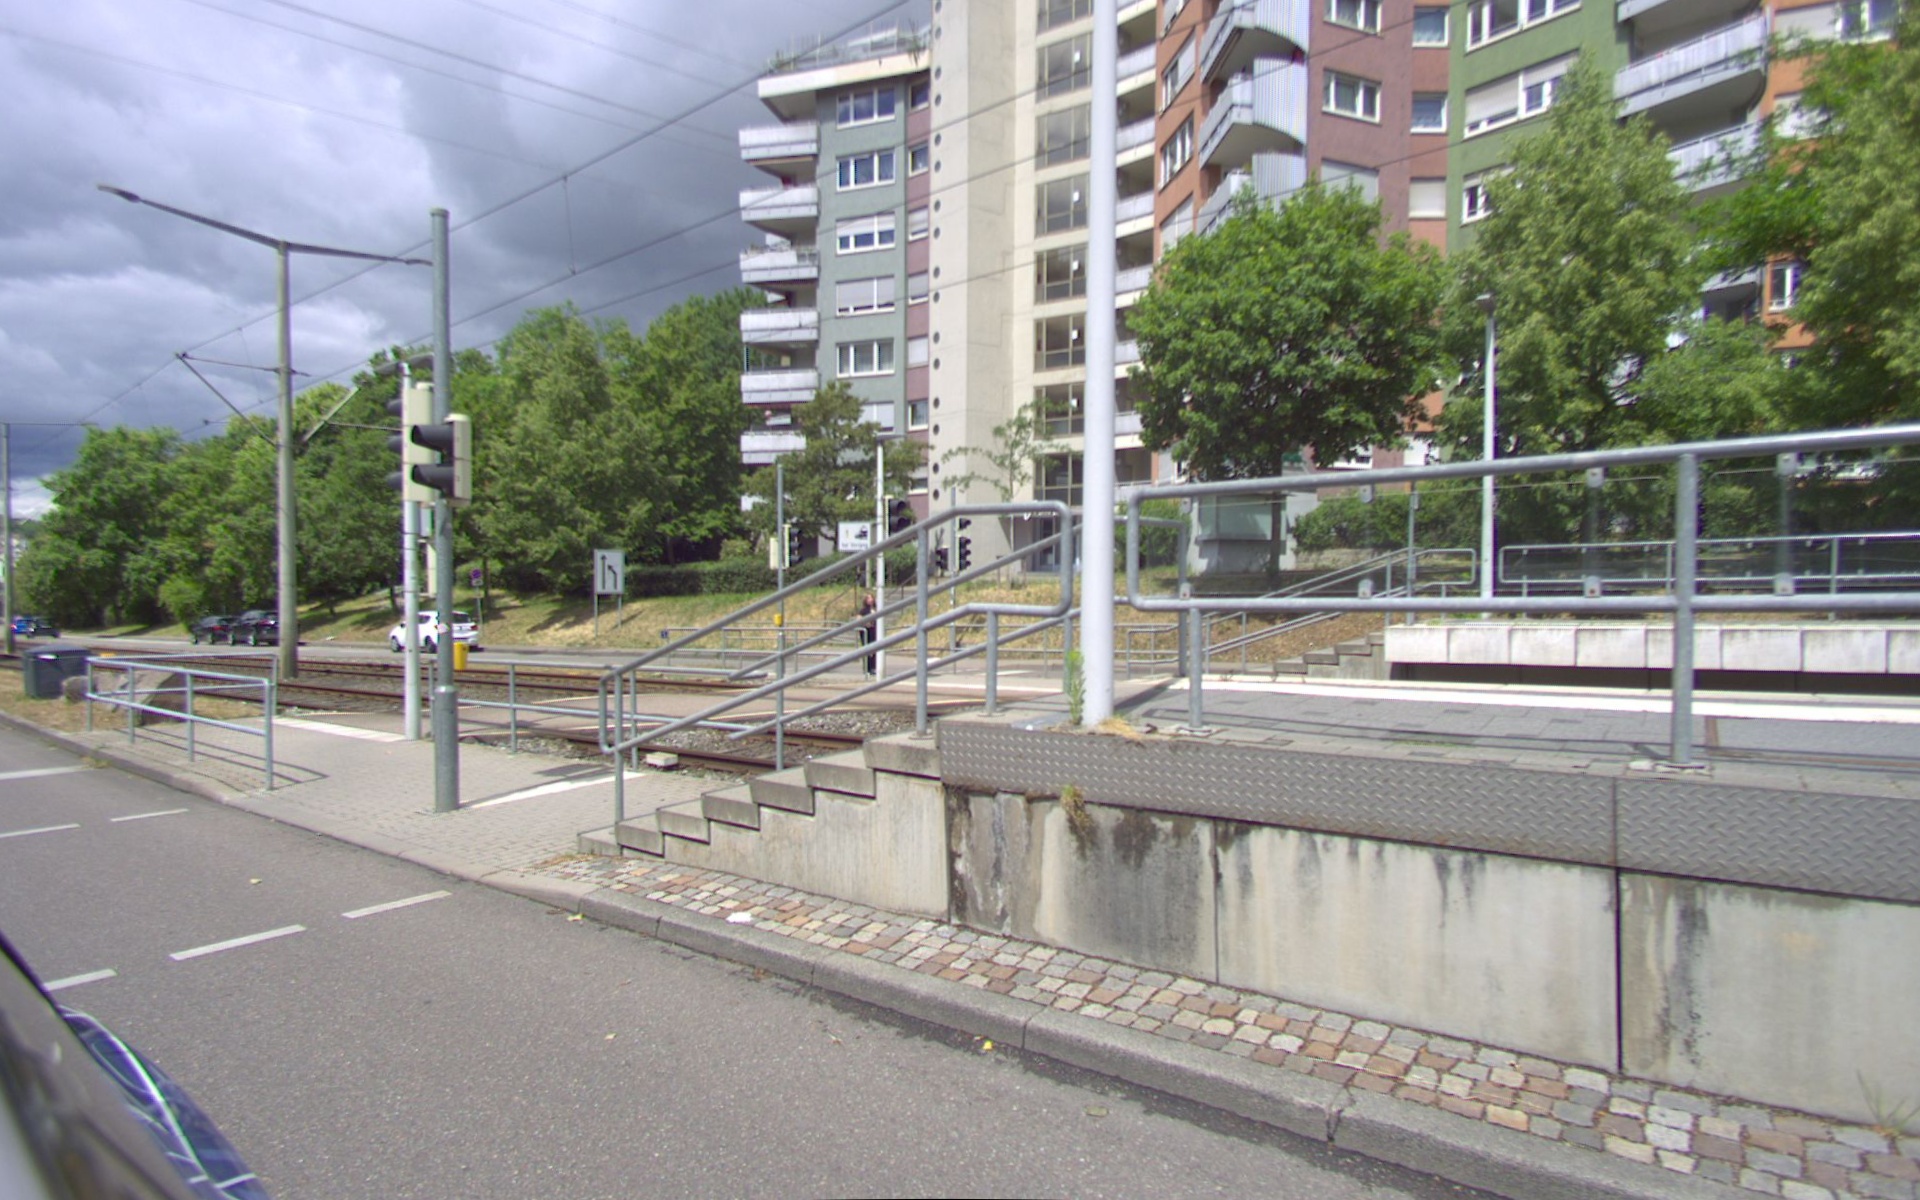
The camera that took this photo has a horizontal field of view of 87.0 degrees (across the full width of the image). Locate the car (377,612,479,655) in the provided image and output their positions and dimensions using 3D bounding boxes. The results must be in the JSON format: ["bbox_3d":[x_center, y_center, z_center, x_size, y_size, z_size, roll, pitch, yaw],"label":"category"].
[{"bbox_3d":[-19.187,1.202,36.462,3.991,1.429,1.640,-1,-1,35],"label":"car"}]

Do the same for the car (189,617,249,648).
[{"bbox_3d":[-37.283,1.634,50.900,3.465,1.451,1.586,-2,-1,39],"label":"car"}]

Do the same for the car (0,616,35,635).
[{"bbox_3d":[-77.334,2.089,83.009,3.733,1.466,1.616,-2,-1,39],"label":"car"}]

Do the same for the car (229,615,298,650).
[{"bbox_3d":[-32.292,1.480,46.868,3.733,1.524,1.638,-2,-1,39],"label":"car"}]

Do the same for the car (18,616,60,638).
[{"bbox_3d":[-65.701,1.905,72.173,3.733,1.524,1.638,-2,-1,39],"label":"car"}]

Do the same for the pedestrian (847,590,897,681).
[{"bbox_3d":[-1.602,0.626,18.333,0.679,1.575,0.826,-2,0,-18],"label":"pedestrian"}]
